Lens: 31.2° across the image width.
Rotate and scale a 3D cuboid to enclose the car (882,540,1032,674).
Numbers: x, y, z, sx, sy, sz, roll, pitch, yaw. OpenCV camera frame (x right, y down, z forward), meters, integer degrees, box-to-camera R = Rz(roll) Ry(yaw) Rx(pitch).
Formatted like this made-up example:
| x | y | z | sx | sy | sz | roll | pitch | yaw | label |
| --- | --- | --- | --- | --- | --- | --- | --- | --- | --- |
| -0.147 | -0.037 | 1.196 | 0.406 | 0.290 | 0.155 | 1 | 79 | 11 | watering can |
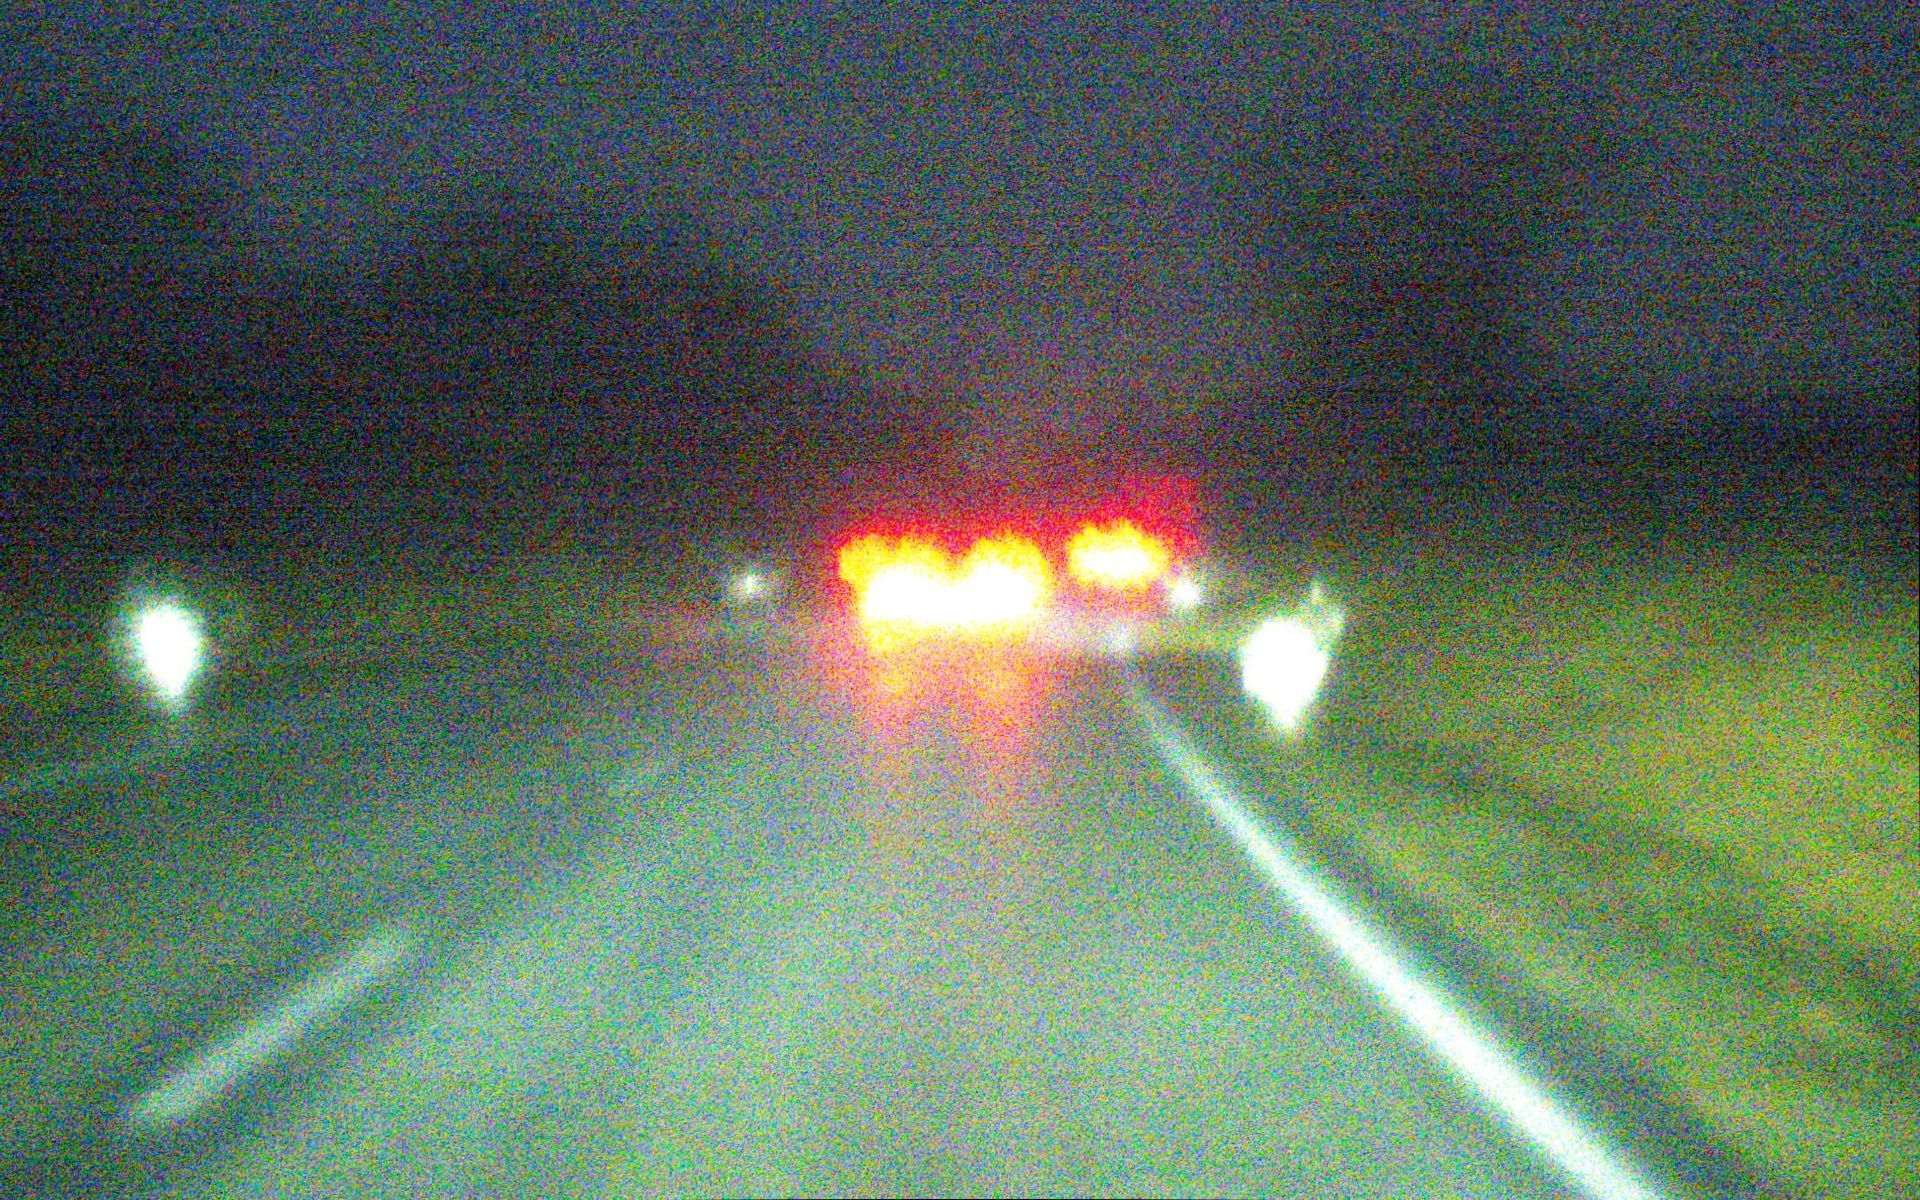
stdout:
| x | y | z | sx | sy | sz | roll | pitch | yaw | label |
| --- | --- | --- | --- | --- | --- | --- | --- | --- | --- |
| 0.007 | 0.058 | 46.472 | 1.842 | 1.734 | 4.000 | 0 | 1 | 3 | car |
